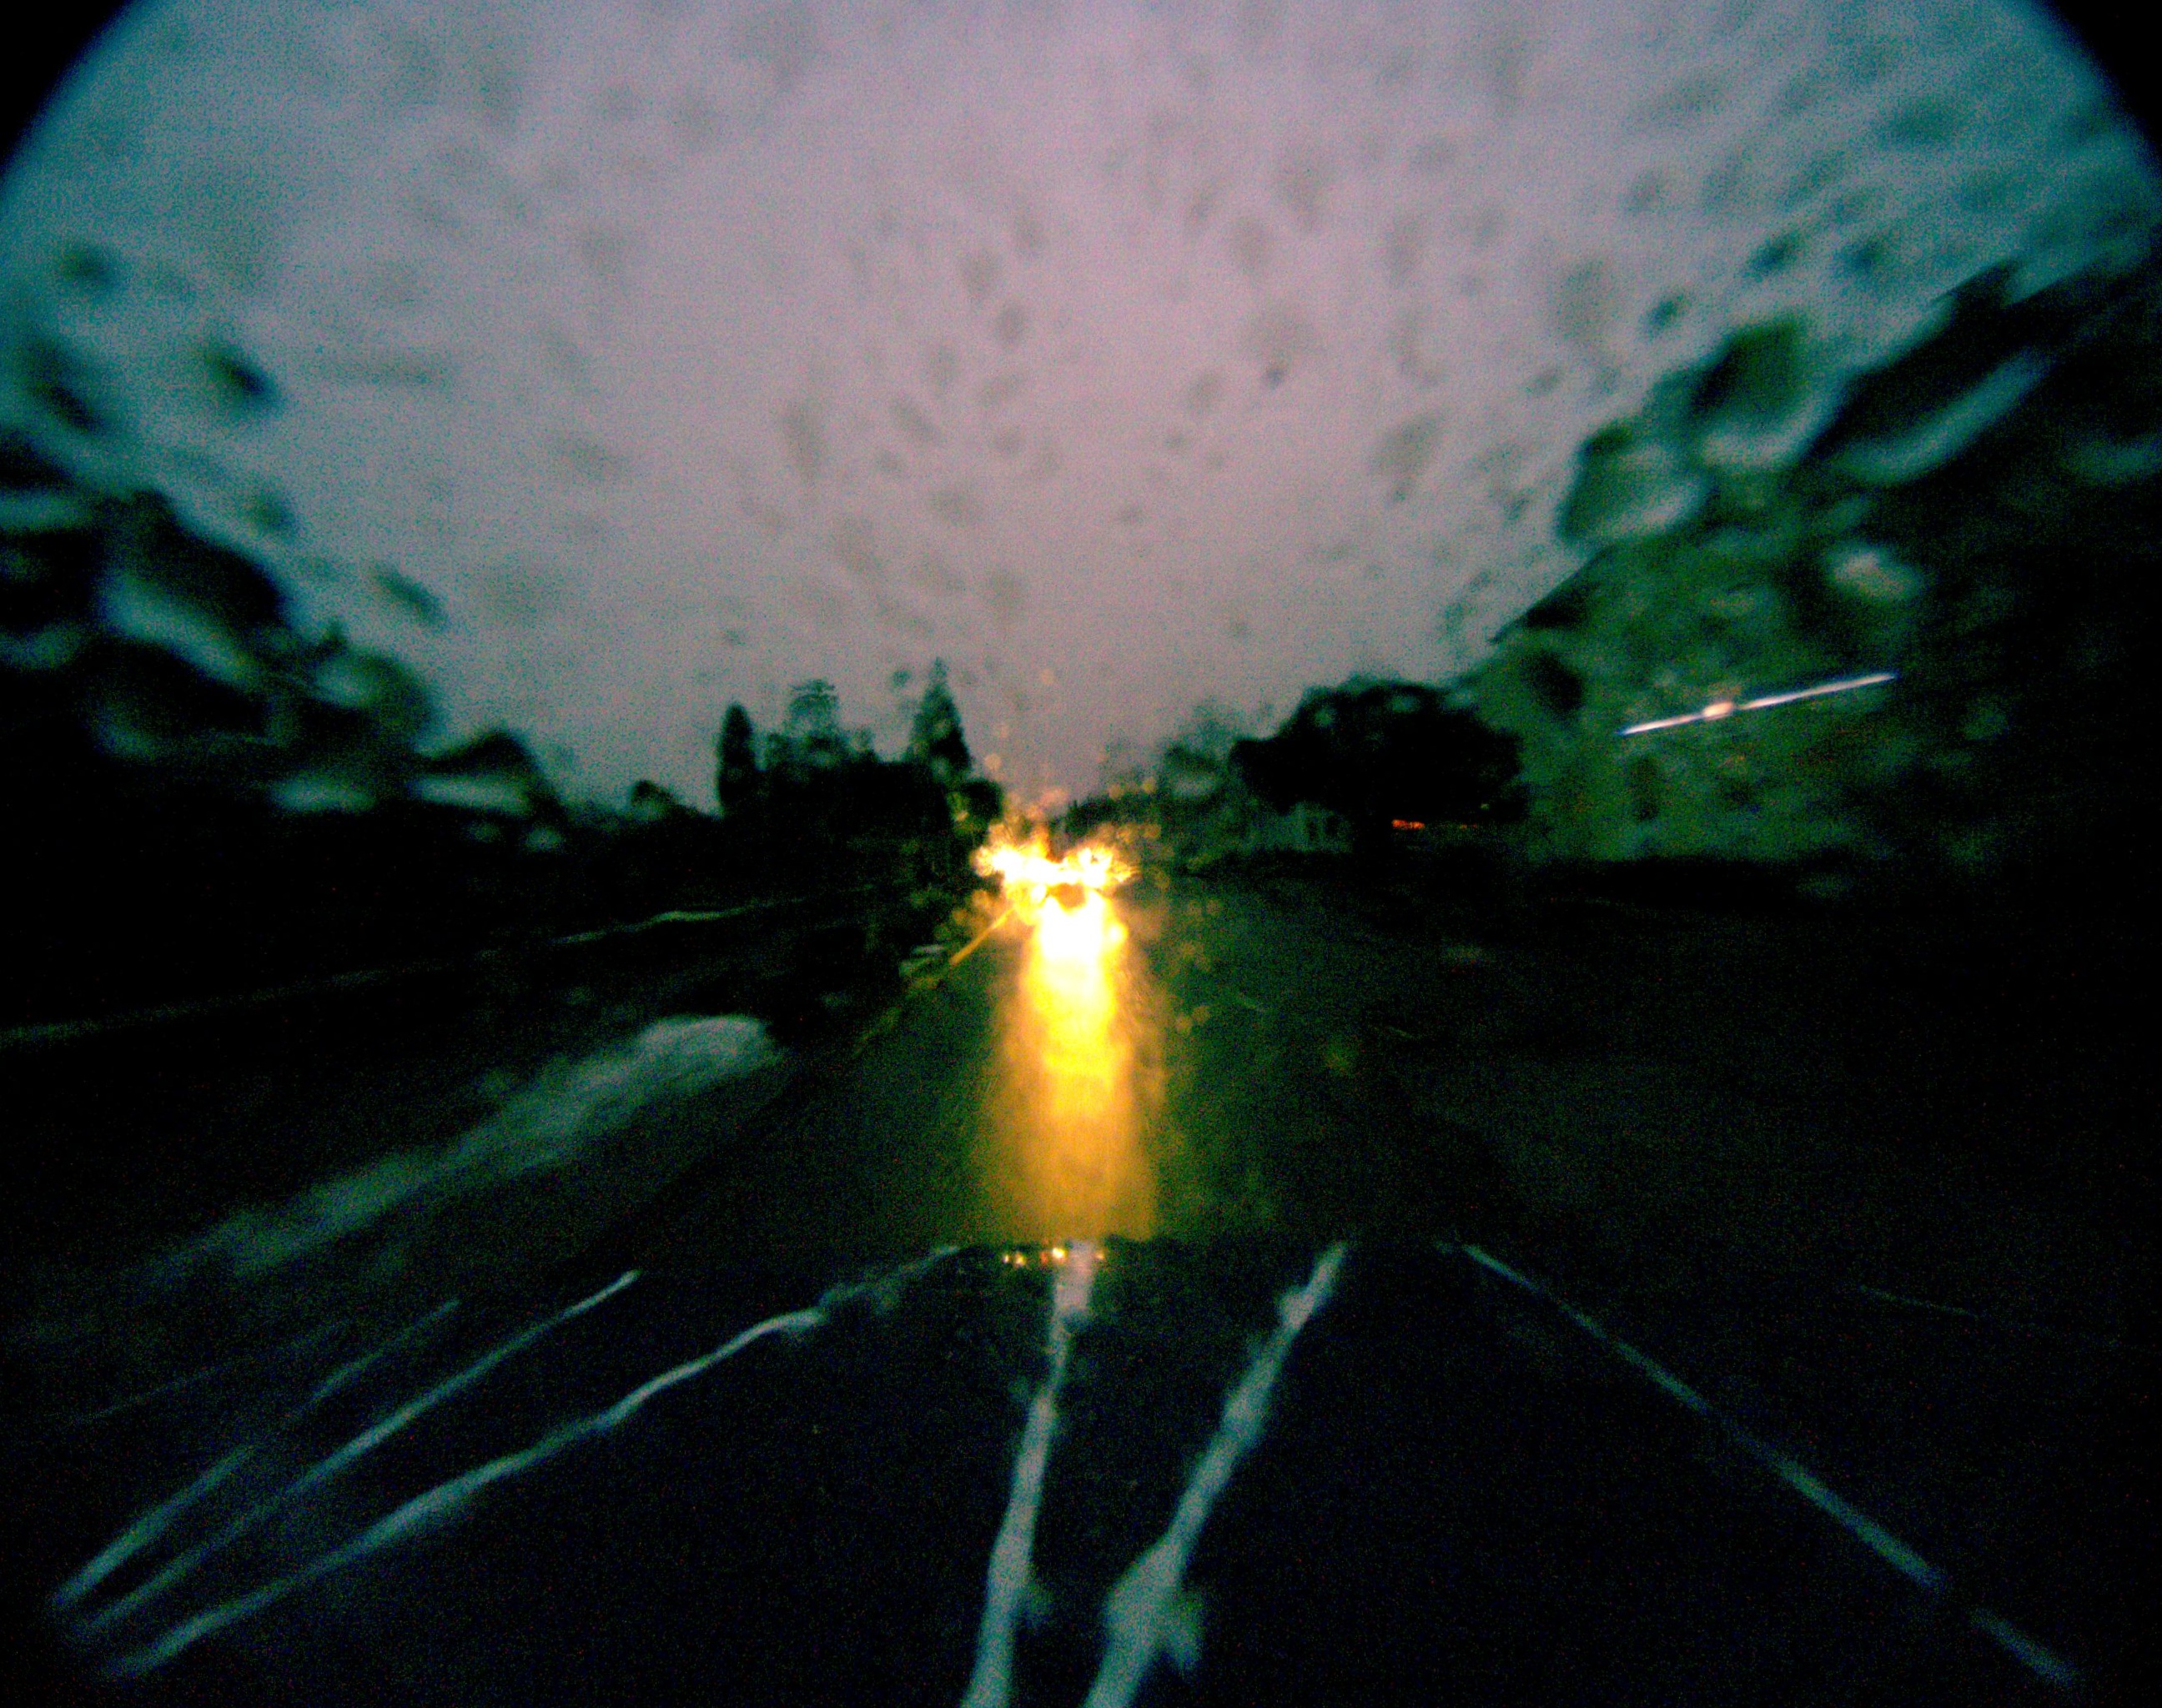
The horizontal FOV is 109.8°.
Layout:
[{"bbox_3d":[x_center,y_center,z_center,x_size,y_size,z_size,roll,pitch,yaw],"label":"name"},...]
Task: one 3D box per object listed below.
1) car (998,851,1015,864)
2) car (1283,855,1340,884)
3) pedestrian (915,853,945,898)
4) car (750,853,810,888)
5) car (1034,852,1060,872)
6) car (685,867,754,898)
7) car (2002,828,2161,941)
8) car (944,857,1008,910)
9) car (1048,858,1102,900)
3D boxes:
[{"bbox_3d":[-9.751,0.445,99.204,1.777,1.608,3.868,-2,1,-12],"label":"car"},{"bbox_3d":[12.335,0.793,40.863,1.786,1.358,3.999,-2,1,-1],"label":"car"},{"bbox_3d":[-5.903,0.816,29.710,0.990,1.732,1.055,0,1,-3],"label":"pedestrian"},{"bbox_3d":[-15.484,0.805,39.335,1.947,1.653,4.226,-1,1,-9],"label":"car"},{"bbox_3d":[-3.015,0.708,67.061,2.000,1.660,3.998,-1,0,-6],"label":"car"},{"bbox_3d":[-18.007,1.379,38.085,1.810,1.367,3.998,-1,1,-5],"label":"car"},{"bbox_3d":[17.507,0.388,11.903,3.998,1.591,1.921,-2,0,-3],"label":"car"},{"bbox_3d":[-3.407,0.916,25.226,1.653,1.531,3.390,2,0,-1],"label":"car"},{"bbox_3d":[-0.253,0.956,30.517,1.999,1.575,4.000,-1,0,-1],"label":"car"}]
